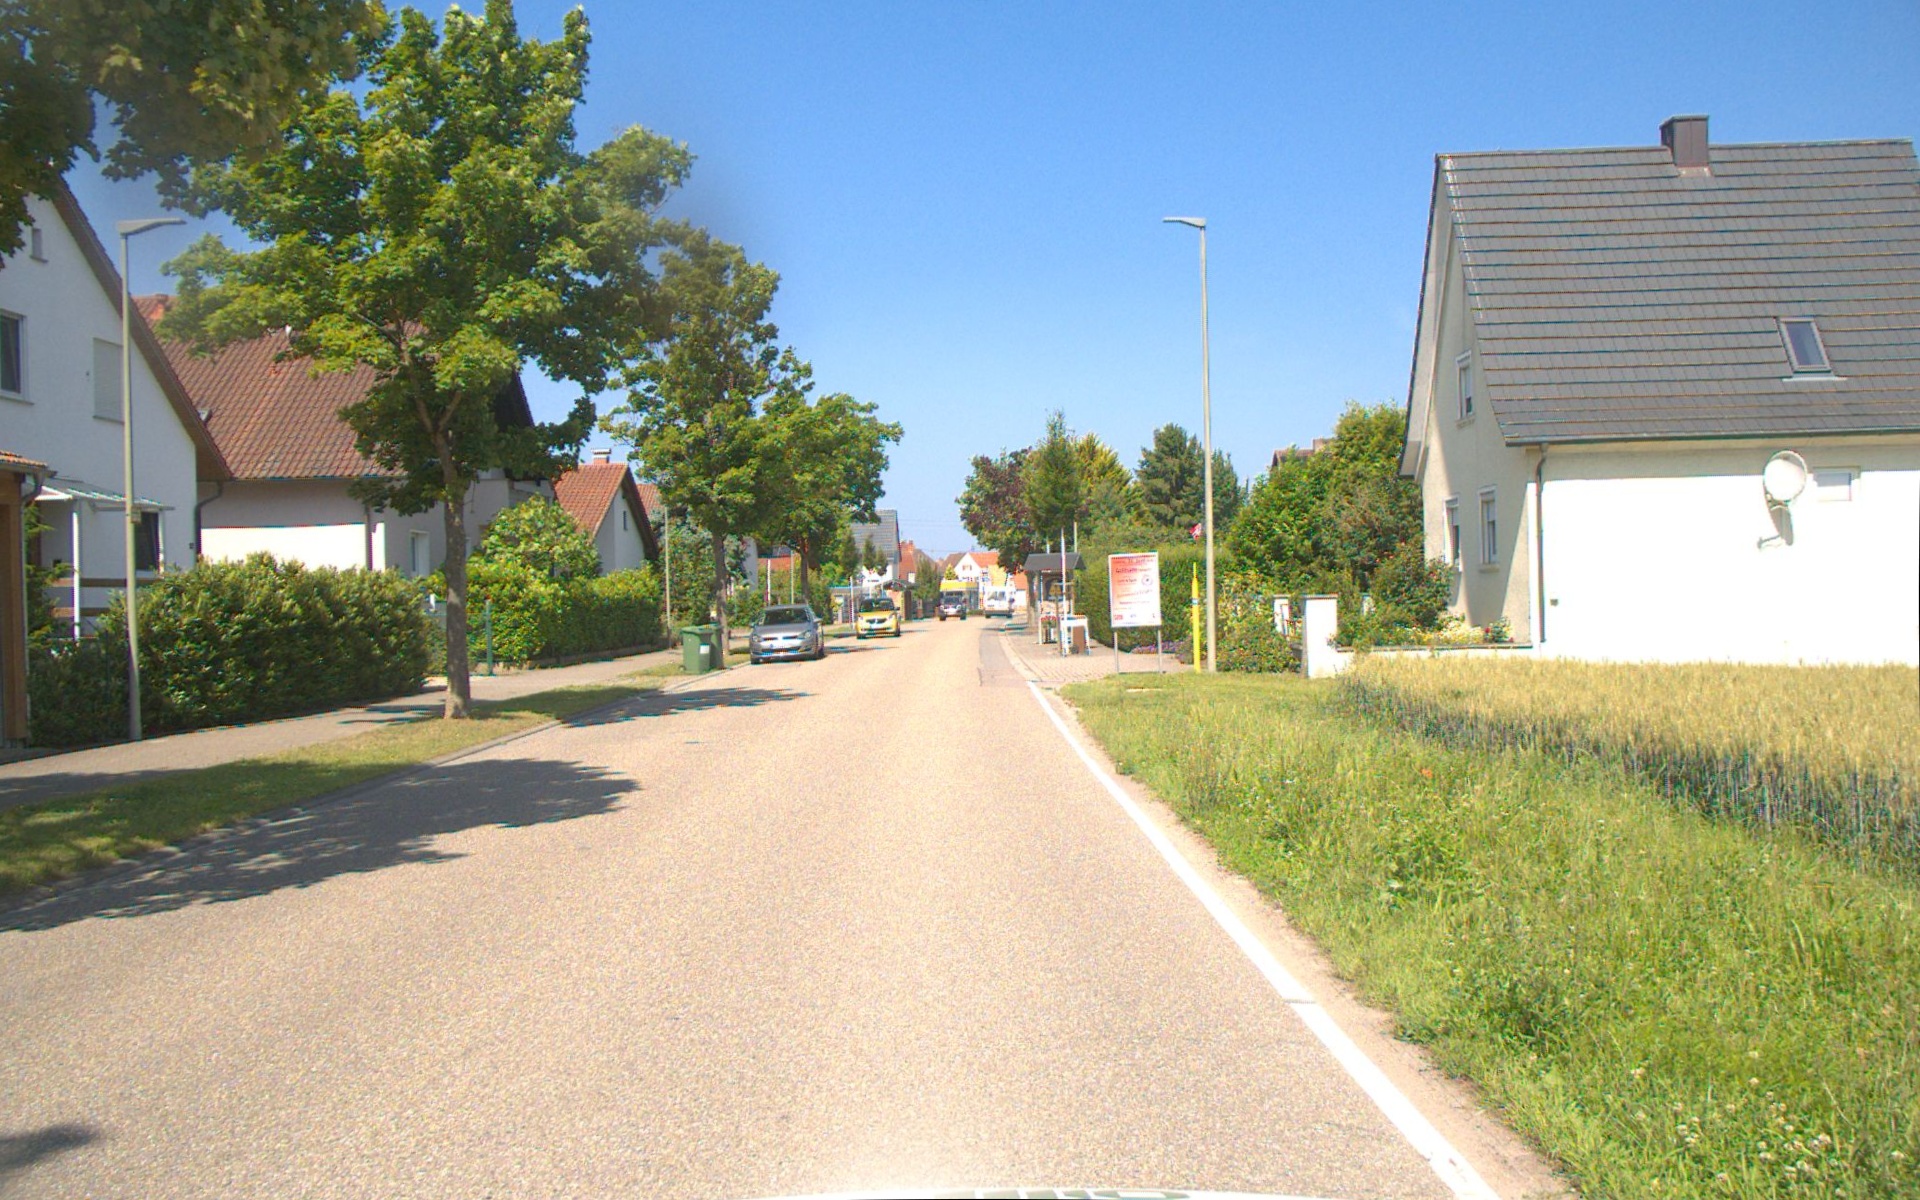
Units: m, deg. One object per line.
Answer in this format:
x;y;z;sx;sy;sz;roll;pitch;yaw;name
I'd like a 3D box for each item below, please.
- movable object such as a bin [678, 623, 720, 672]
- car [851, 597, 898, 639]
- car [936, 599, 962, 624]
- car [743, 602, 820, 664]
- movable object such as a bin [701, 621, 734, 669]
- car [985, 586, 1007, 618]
-6.020;1.089;38.202;0.699;1.097;0.639;-2;0;25;movable object such as a bin
-3.381;0.690;65.722;1.632;1.550;3.442;-3;0;0;car
-0.829;0.854;123.729;1.798;1.783;3.794;-2;0;-2;car
-4.658;0.841;43.669;1.614;1.448;4.079;-4;0;-2;car
-5.689;1.054;38.857;0.562;1.097;0.599;-2;0;13;movable object such as a bin
2.871;0.174;132.206;1.702;2.474;4.375;-2;0;1;car
